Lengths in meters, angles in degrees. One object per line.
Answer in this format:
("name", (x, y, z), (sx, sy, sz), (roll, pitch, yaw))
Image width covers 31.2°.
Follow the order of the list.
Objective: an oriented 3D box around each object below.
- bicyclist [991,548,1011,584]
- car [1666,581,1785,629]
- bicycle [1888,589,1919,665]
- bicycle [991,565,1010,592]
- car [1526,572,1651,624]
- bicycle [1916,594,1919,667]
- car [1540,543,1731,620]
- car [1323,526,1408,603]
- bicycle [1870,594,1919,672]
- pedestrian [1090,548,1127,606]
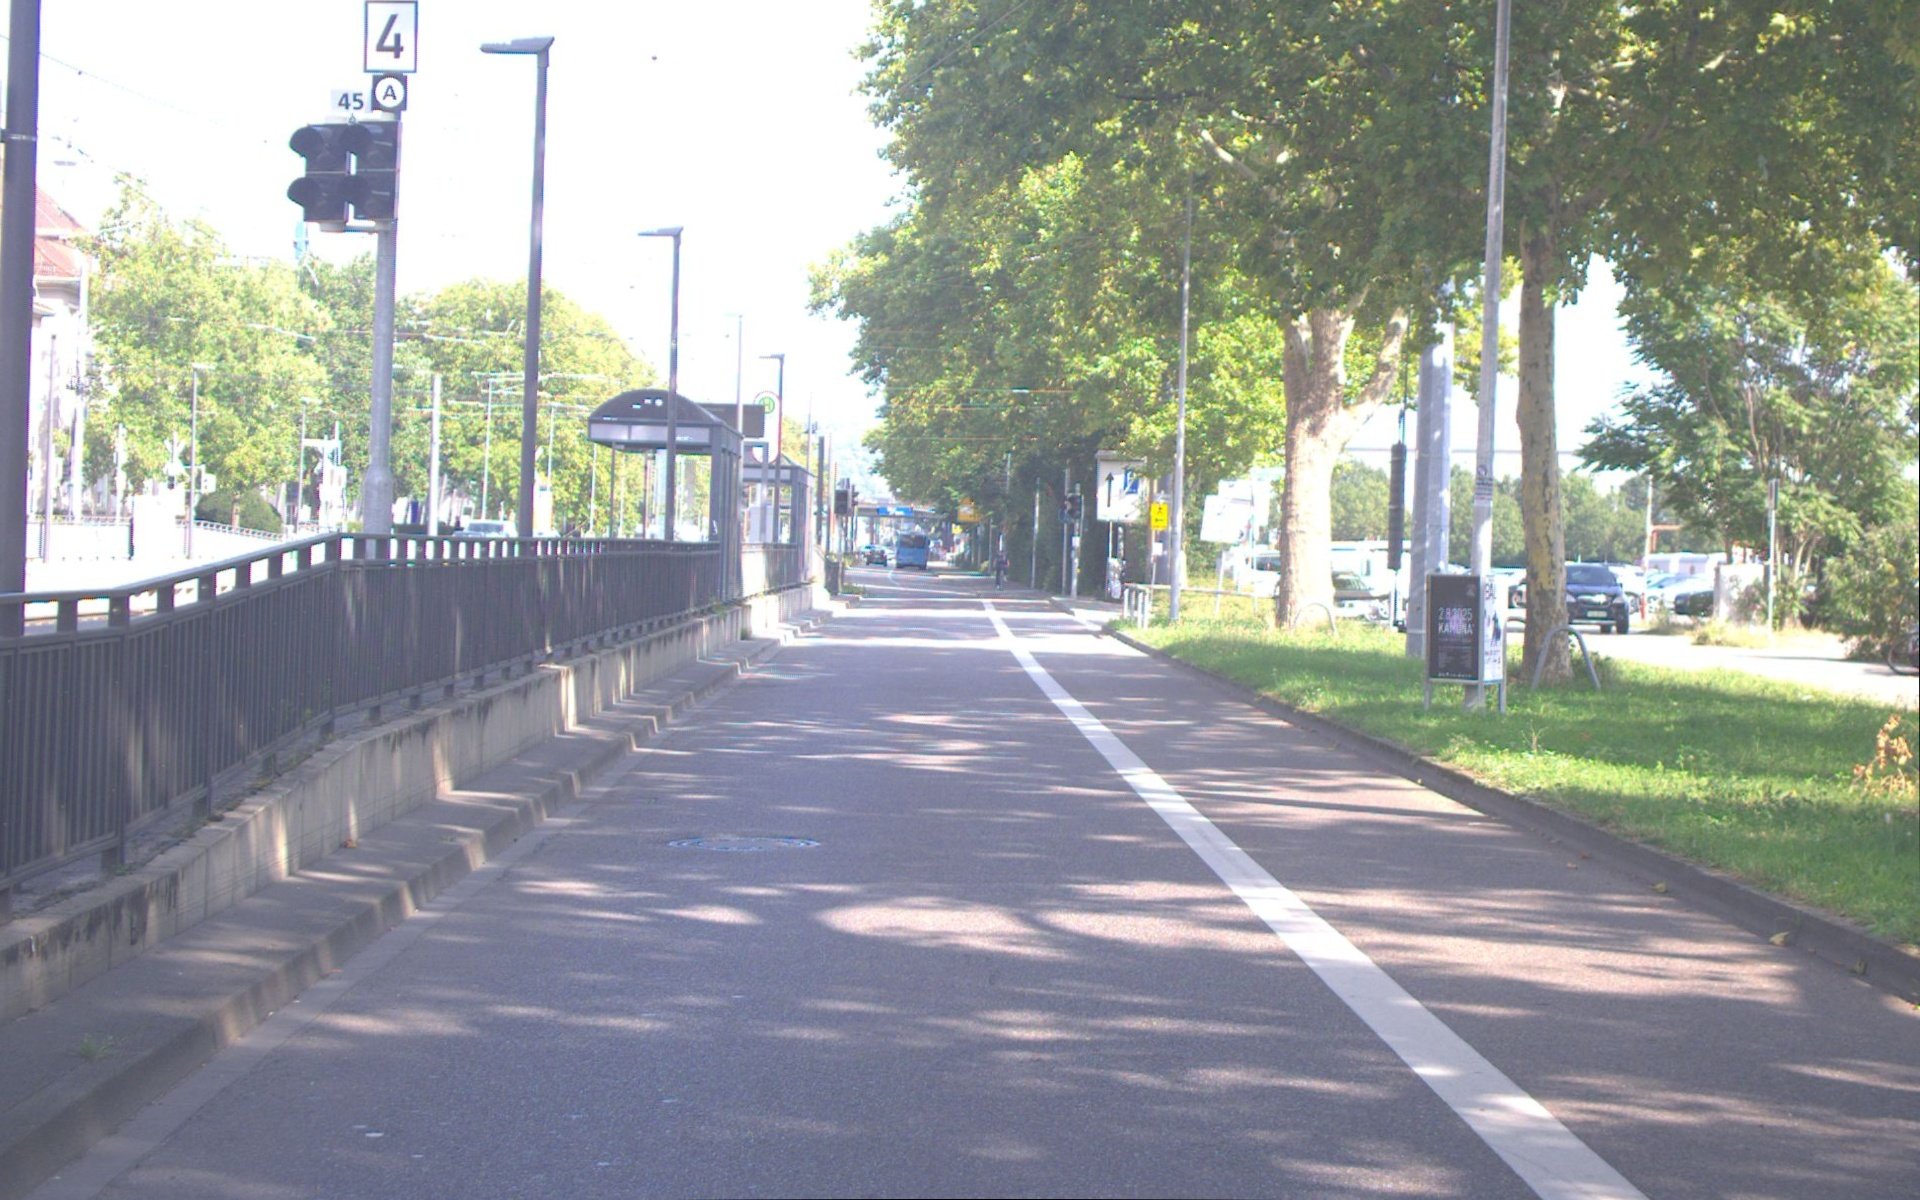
("bicyclist", (1.695, -1.428, 142.566), (0.705, 1.456, 1.009), (3, 0, 0))
("car", (26.223, 0.178, 117.830), (3.775, 1.441, 1.526), (3, 0, 6))
("bicycle", (12.754, 0.348, 44.040), (0.505, 0.966, 1.661), (-1, 1, -42))
("bicycle", (1.677, -0.900, 142.581), (0.715, 1.104, 2.509), (3, 1, 0))
("car", (20.165, -0.069, 110.355), (3.775, 1.441, 1.526), (3, 0, 6))
("bicycle", (13.545, 0.413, 45.488), (1.656, 0.966, 0.506), (0, 1, 2))
("car", (15.909, -0.434, 80.930), (4.234, 1.673, 1.728), (1, 1, -29))
("car", (11.164, -0.993, 94.774), (1.722, 2.041, 4.462), (2, 1, 0))
("bicycle", (12.352, 0.424, 43.423), (0.505, 0.966, 1.661), (-1, 1, -42))
("pedestrian", (4.226, -0.648, 97.777), (0.626, 1.612, 0.843), (2, 1, 37))
